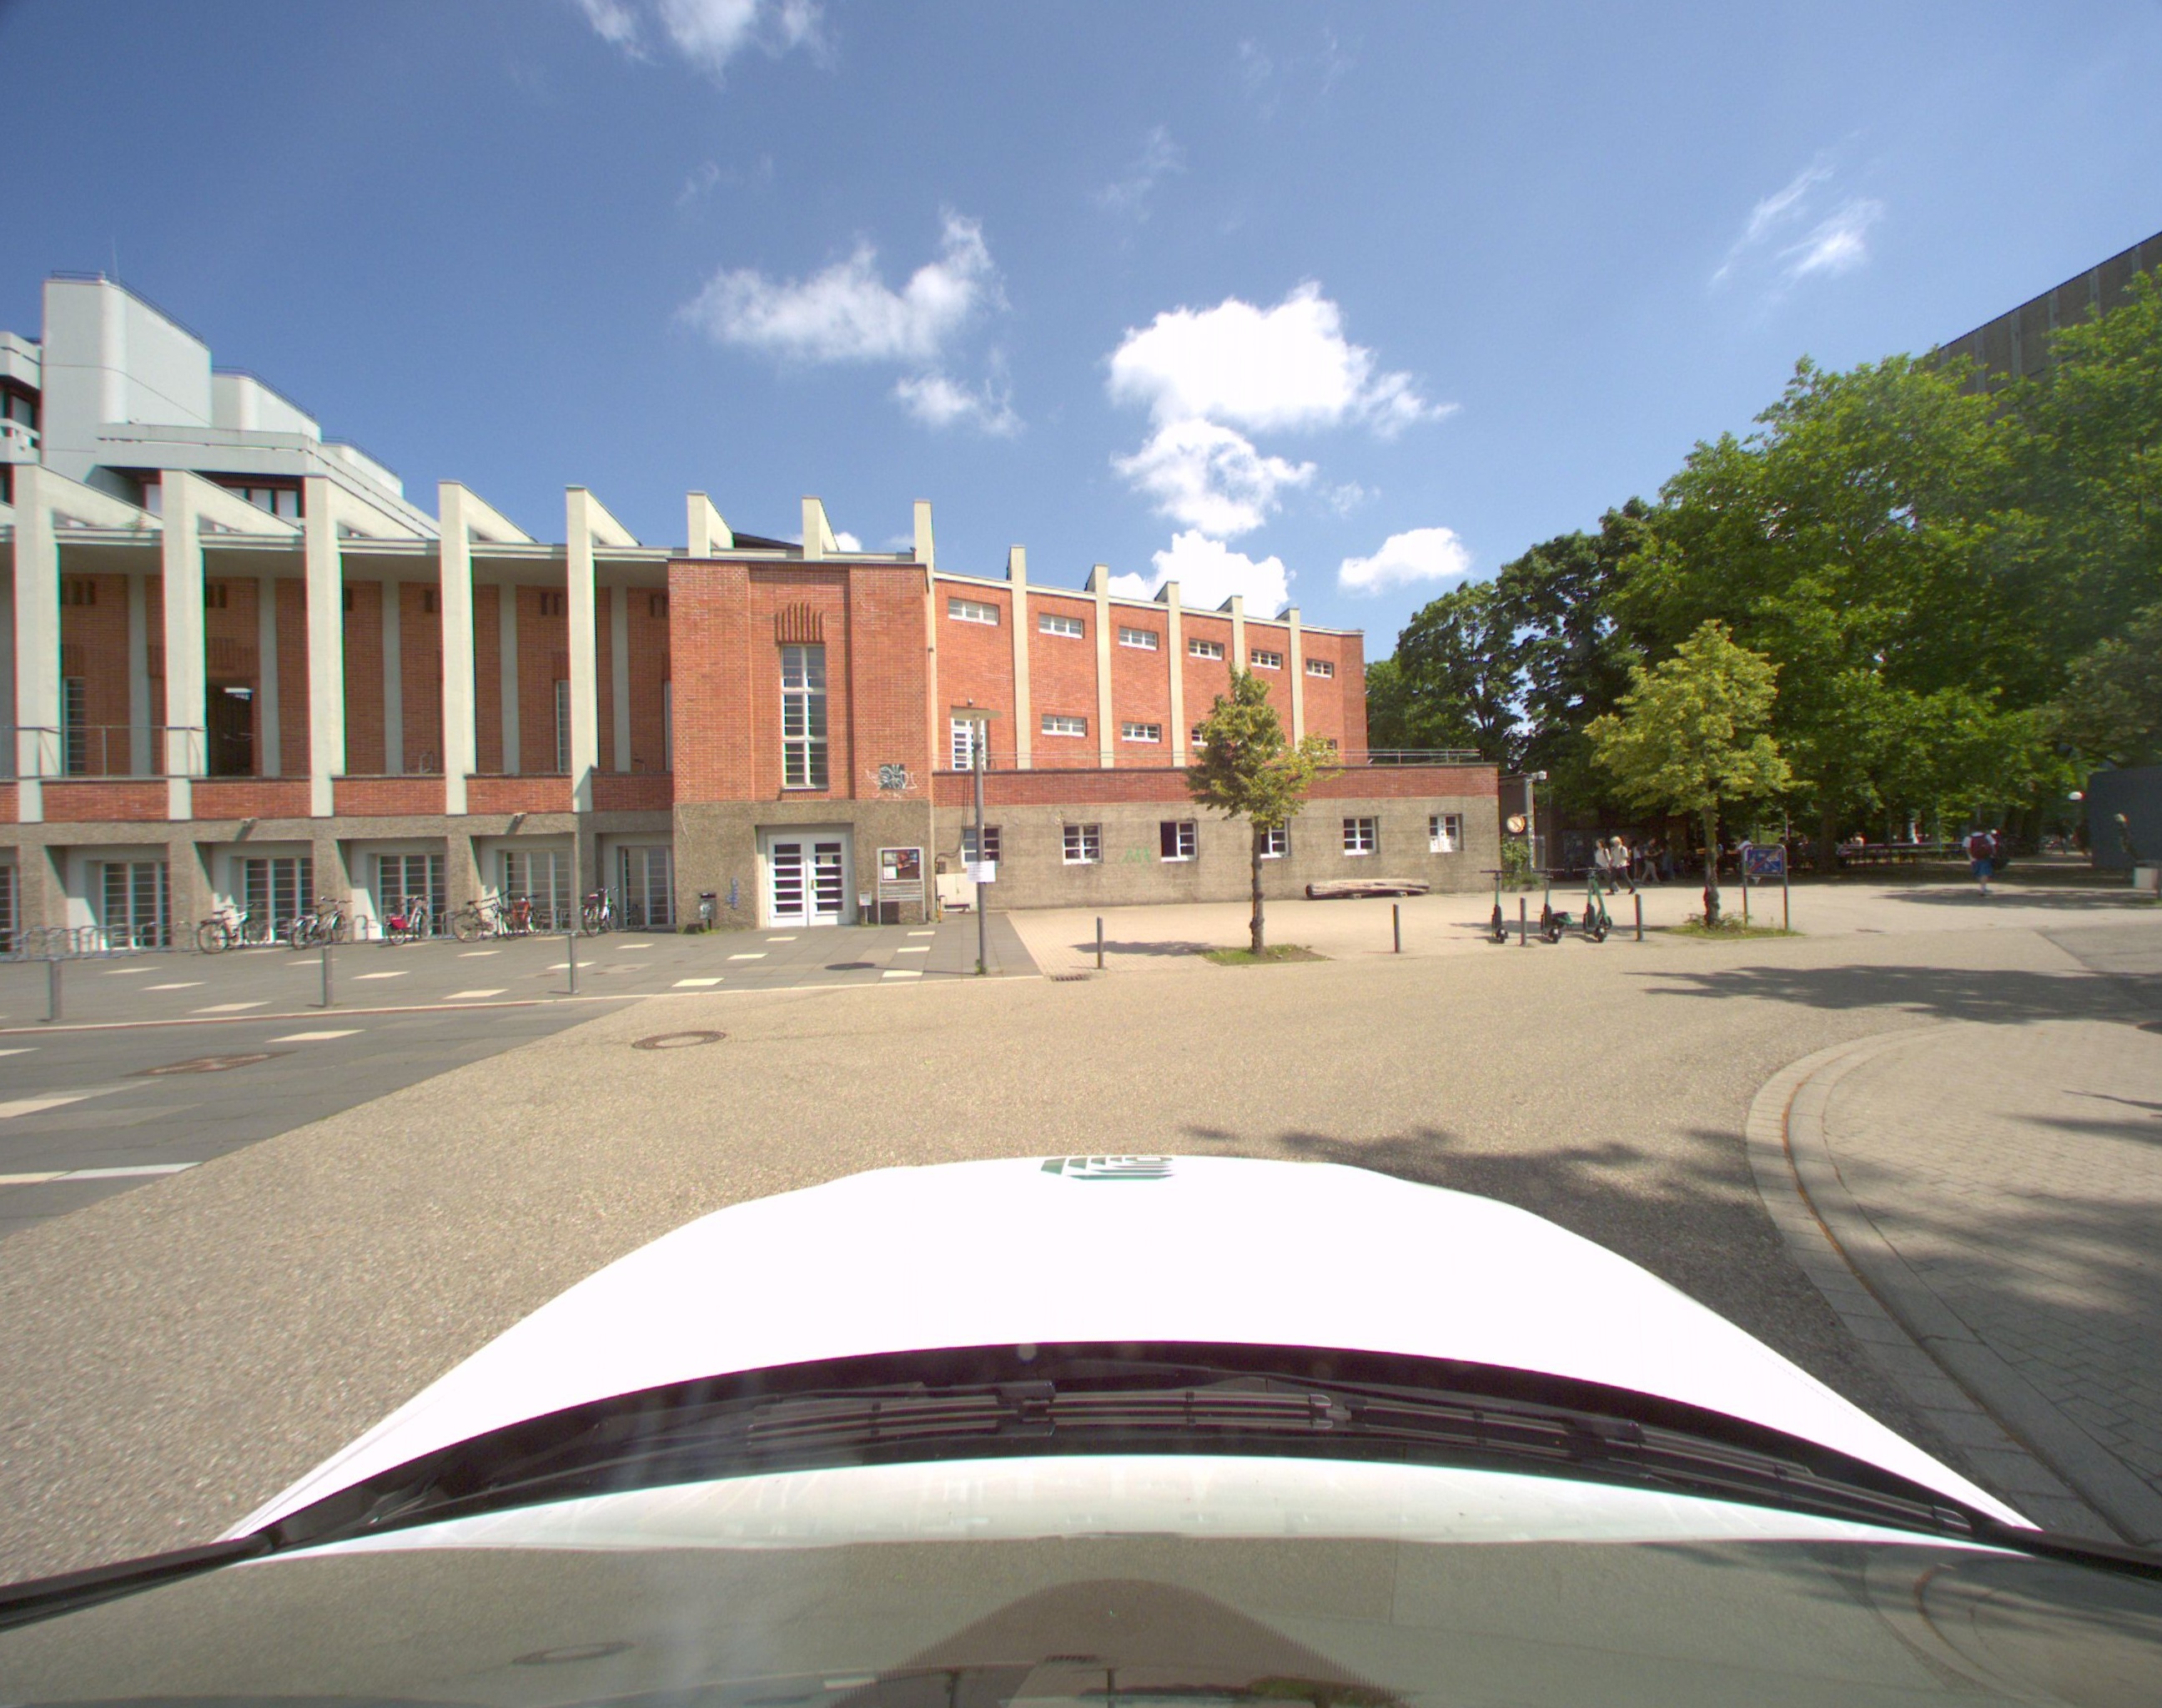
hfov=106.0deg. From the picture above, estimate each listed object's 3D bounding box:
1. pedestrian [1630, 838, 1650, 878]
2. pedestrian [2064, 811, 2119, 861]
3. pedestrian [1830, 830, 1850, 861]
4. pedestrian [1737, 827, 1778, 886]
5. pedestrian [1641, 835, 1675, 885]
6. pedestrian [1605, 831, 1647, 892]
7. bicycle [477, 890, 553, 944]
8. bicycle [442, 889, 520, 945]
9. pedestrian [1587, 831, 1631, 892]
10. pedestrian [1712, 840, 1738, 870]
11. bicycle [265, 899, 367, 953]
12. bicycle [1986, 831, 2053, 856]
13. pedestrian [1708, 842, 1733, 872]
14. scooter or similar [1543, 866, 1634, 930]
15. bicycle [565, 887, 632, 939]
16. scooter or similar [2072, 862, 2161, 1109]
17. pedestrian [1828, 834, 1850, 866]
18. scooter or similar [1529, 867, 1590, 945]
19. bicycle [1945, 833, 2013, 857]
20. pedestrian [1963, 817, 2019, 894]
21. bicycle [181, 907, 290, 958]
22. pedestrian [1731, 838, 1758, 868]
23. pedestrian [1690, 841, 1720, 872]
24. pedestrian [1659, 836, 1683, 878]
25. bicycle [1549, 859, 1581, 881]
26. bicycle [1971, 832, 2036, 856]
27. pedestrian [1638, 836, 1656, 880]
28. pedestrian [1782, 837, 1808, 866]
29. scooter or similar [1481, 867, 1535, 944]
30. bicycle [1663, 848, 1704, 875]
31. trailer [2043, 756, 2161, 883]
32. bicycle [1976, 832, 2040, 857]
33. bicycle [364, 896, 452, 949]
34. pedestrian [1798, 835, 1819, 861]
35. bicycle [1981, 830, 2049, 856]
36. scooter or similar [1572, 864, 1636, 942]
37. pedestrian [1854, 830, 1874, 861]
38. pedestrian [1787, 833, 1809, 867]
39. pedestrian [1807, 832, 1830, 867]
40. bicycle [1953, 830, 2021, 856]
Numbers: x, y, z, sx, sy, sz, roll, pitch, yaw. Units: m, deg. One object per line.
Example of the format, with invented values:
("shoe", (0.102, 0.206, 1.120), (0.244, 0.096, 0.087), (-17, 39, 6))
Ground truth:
("pedestrian", (22.369, 0.167, 32.584), (0.598, 1.593, 0.415), (-1, 1, 40))
("pedestrian", (40.529, -0.721, 32.673), (1.111, 1.948, 0.898), (0, 2, 29))
("pedestrian", (36.712, -0.410, 39.400), (0.474, 1.522, 0.503), (-2, 0, -19))
("pedestrian", (21.332, 0.076, 25.676), (0.870, 1.820, 0.451), (0, -1, 19))
("pedestrian", (20.191, 0.212, 28.506), (0.870, 1.720, 0.492), (0, -1, 19))
("pedestrian", (16.022, 0.217, 23.949), (0.803, 1.762, 0.563), (-1, -1, -10))
("bicycle", (-13.441, 1.464, 19.401), (0.590, 1.125, 2.023), (-2, 0, -7))
("bicycle", (-14.285, 1.476, 19.456), (0.436, 1.125, 2.025), (-2, 1, -4))
("pedestrian", (15.878, 0.220, 24.492), (0.914, 1.779, 0.575), (-1, -1, -10))
("pedestrian", (28.011, 0.038, 35.413), (0.690, 1.271, 0.560), (-2, 0, -8))
("bicycle", (-17.593, 1.636, 18.798), (0.661, 1.061, 2.021), (-2, 0, -9))
("bicycle", (44.273, -0.493, 38.445), (0.584, 1.119, 2.002), (-2, -1, -17))
("pedestrian", (28.832, 0.124, 36.730), (0.557, 1.323, 0.645), (-2, -1, -7))
("scooter or similar", (9.646, 0.824, 15.512), (1.339, 1.149, 0.565), (-2, -1, 3))
("bicycle", (-11.602, 1.389, 19.644), (0.665, 1.125, 2.021), (-2, 0, -9))
("scooter or similar", (6.230, 0.667, 4.268), (1.373, 1.254, 0.554), (-1, -1, -1))
("pedestrian", (31.198, -0.165, 33.532), (0.747, 1.233, 0.588), (-4, 1, -43))
("scooter or similar", (8.146, 0.858, 13.913), (0.558, 1.225, 1.583), (-2, 0, 19))
("bicycle", (41.054, -0.393, 37.279), (0.584, 1.008, 2.002), (-2, -1, -17))
("pedestrian", (22.519, 0.024, 20.151), (0.883, 1.835, 0.844), (-4, 1, -39))
("bicycle", (-19.237, 1.755, 18.593), (0.682, 0.960, 1.950), (-2, 0, -9))
("pedestrian", (28.968, -0.028, 35.559), (0.690, 1.271, 0.560), (-2, 0, -8))
("pedestrian", (27.870, 0.116, 36.400), (0.775, 1.323, 0.688), (-2, -1, -7))
("pedestrian", (23.316, 0.116, 32.180), (0.670, 1.651, 0.506), (-1, 1, 42))
("bicycle", (20.387, 0.665, 34.298), (1.227, 0.883, 0.304), (-2, -1, -8))
("bicycle", (44.693, -0.468, 39.470), (0.584, 1.119, 2.002), (-2, -1, -17))
("pedestrian", (22.262, 0.148, 32.035), (0.523, 1.710, 0.451), (-1, 1, 37))
("pedestrian", (31.970, -0.121, 36.475), (0.767, 1.250, 0.566), (-2, 0, -20))
("scooter or similar", (7.390, 0.862, 14.145), (0.564, 1.225, 1.583), (-2, 0, 19))
("bicycle", (24.597, 0.323, 33.270), (1.332, 1.077, 0.419), (-1, -2, 38))
("trailer", (28.834, -0.928, 20.786), (6.244, 3.026, 2.697), (-2, 0, -9))
("bicycle", (45.401, -0.458, 39.913), (0.584, 1.119, 2.002), (-2, -1, -17))
("bicycle", (-15.698, 1.565, 19.063), (0.619, 1.082, 2.010), (-2, 0, -9))
("pedestrian", (34.003, -0.280, 38.079), (0.730, 1.194, 0.390), (-2, 0, -18))
("bicycle", (43.524, -0.497, 37.977), (0.584, 1.119, 2.002), (-2, -1, -17))
("scooter or similar", (8.882, 0.797, 13.886), (0.518, 1.225, 1.583), (-2, 0, 19))
("pedestrian", (37.020, -0.407, 38.500), (0.460, 1.422, 0.504), (-2, 0, -19))
("pedestrian", (30.108, -0.179, 34.197), (0.708, 1.369, 0.588), (-4, 1, -43))
("pedestrian", (30.242, -0.191, 33.393), (0.747, 1.369, 0.588), (-4, 1, -43))
("bicycle", (41.933, -0.497, 37.728), (0.584, 1.119, 2.002), (-2, -1, -17))
